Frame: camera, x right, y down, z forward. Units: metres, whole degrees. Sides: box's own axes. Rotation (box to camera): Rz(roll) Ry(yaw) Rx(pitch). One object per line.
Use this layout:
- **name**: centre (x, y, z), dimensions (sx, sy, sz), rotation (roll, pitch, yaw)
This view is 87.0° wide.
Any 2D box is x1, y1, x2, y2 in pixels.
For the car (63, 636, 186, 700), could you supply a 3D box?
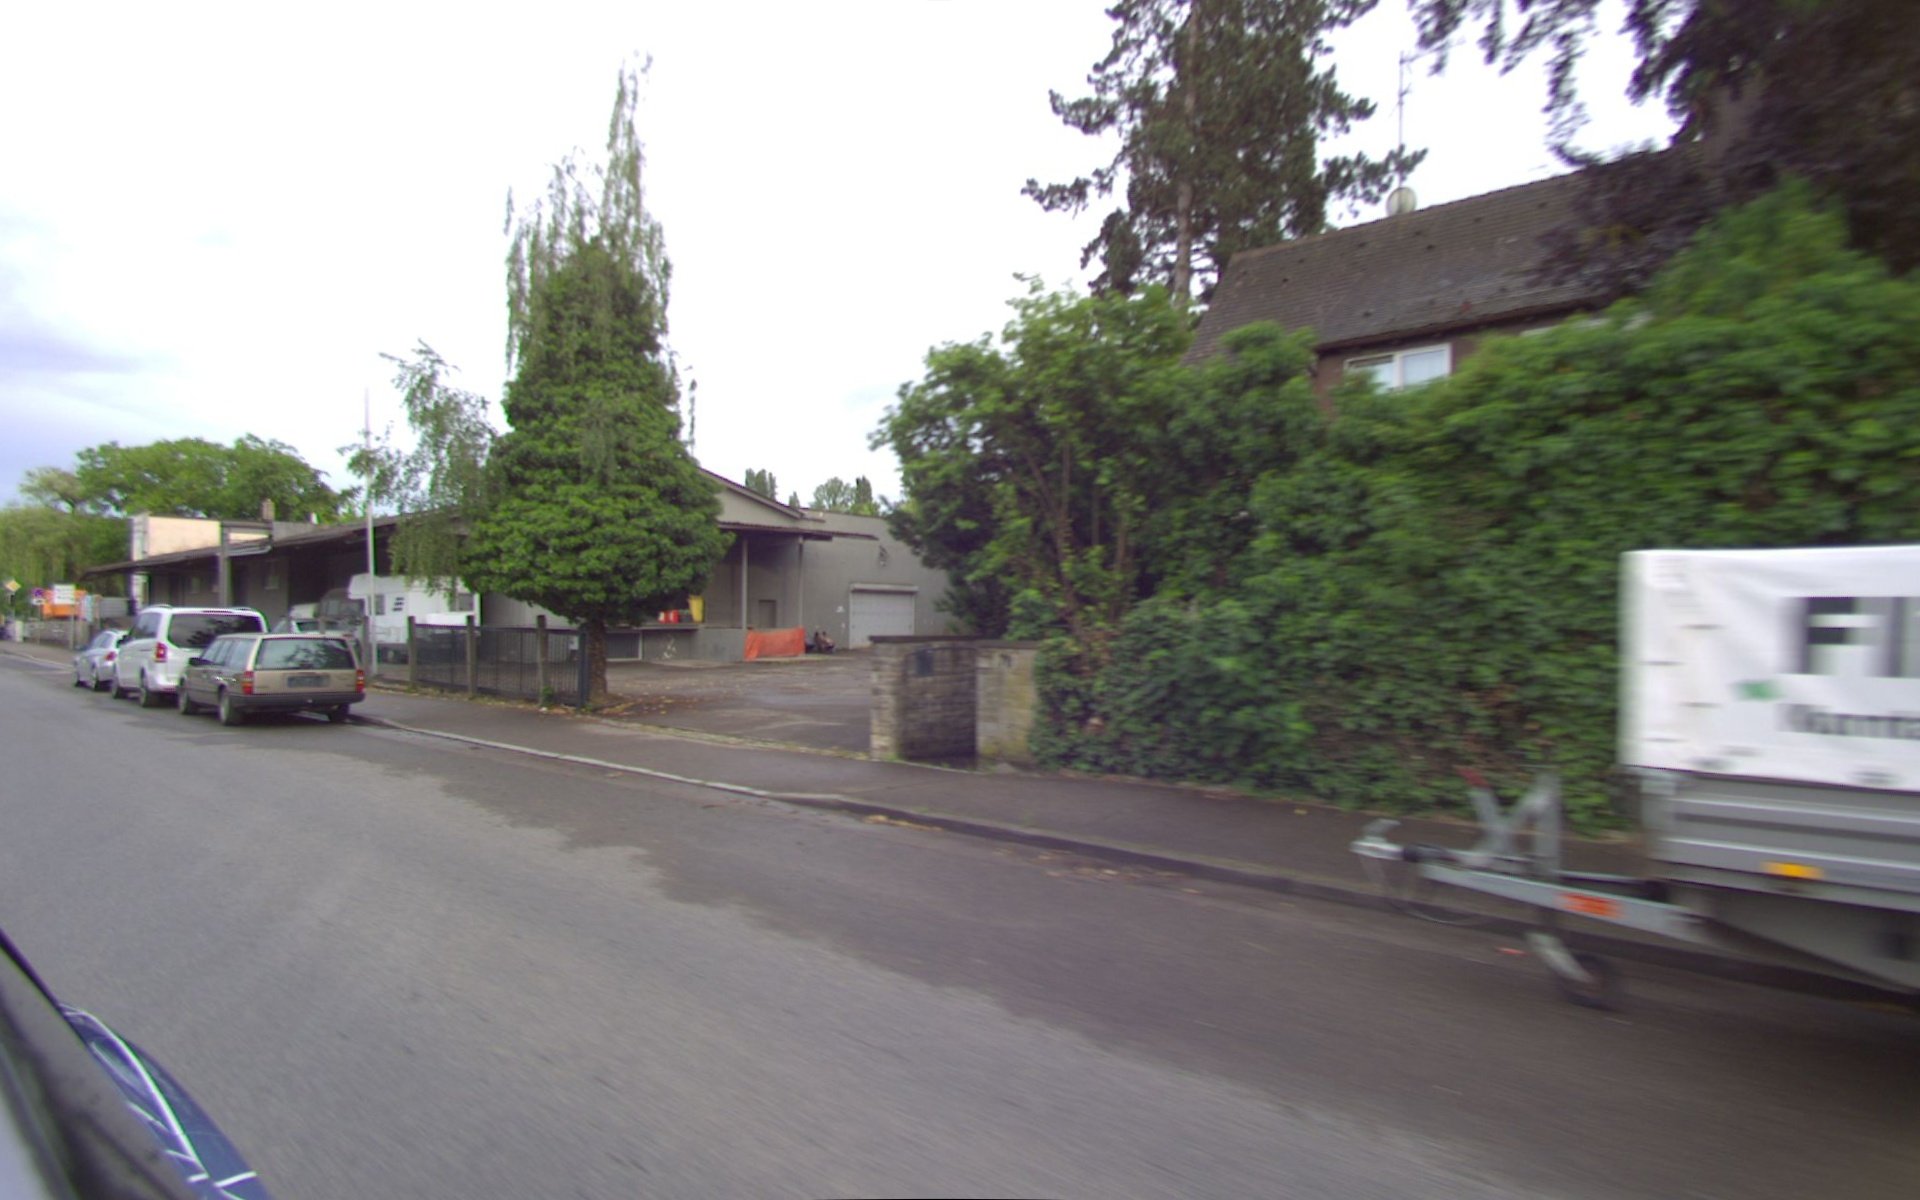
- **car**: centre (-20.413, 1.594, 24.658), dimensions (4.706, 1.375, 1.620), rotation (-1, -3, 42)

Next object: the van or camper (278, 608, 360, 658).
- **van or camper**: centre (-26.577, 1.327, 41.919), dimensions (4.374, 1.950, 1.901), rotation (-1, -1, 44)

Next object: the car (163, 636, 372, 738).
- **car**: centre (-11.756, 1.350, 17.034), dimensions (4.980, 1.438, 1.796), rotation (-1, -3, 42)

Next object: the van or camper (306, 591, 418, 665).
- **van or camper**: centre (-21.859, 0.984, 36.913), dimensions (5.195, 2.509, 1.973), rotation (-1, -1, 41)

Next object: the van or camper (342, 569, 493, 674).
- **van or camper**: centre (-17.547, 0.669, 32.573), dimensions (6.148, 3.058, 2.279), rotation (-1, -1, 41)

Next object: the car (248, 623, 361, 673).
- **car**: centre (-20.957, 1.474, 32.272), dimensions (4.786, 1.451, 1.810), rotation (-1, -1, 41)

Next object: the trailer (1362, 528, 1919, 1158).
- **trailer**: centre (3.882, 0.677, 3.092), dimensions (4.547, 1.779, 1.909), rotation (-2, -1, 42)

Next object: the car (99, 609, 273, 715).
- **car**: centre (-15.826, 1.189, 20.585), dimensions (5.209, 1.906, 1.873), rotation (-1, -3, 42)
